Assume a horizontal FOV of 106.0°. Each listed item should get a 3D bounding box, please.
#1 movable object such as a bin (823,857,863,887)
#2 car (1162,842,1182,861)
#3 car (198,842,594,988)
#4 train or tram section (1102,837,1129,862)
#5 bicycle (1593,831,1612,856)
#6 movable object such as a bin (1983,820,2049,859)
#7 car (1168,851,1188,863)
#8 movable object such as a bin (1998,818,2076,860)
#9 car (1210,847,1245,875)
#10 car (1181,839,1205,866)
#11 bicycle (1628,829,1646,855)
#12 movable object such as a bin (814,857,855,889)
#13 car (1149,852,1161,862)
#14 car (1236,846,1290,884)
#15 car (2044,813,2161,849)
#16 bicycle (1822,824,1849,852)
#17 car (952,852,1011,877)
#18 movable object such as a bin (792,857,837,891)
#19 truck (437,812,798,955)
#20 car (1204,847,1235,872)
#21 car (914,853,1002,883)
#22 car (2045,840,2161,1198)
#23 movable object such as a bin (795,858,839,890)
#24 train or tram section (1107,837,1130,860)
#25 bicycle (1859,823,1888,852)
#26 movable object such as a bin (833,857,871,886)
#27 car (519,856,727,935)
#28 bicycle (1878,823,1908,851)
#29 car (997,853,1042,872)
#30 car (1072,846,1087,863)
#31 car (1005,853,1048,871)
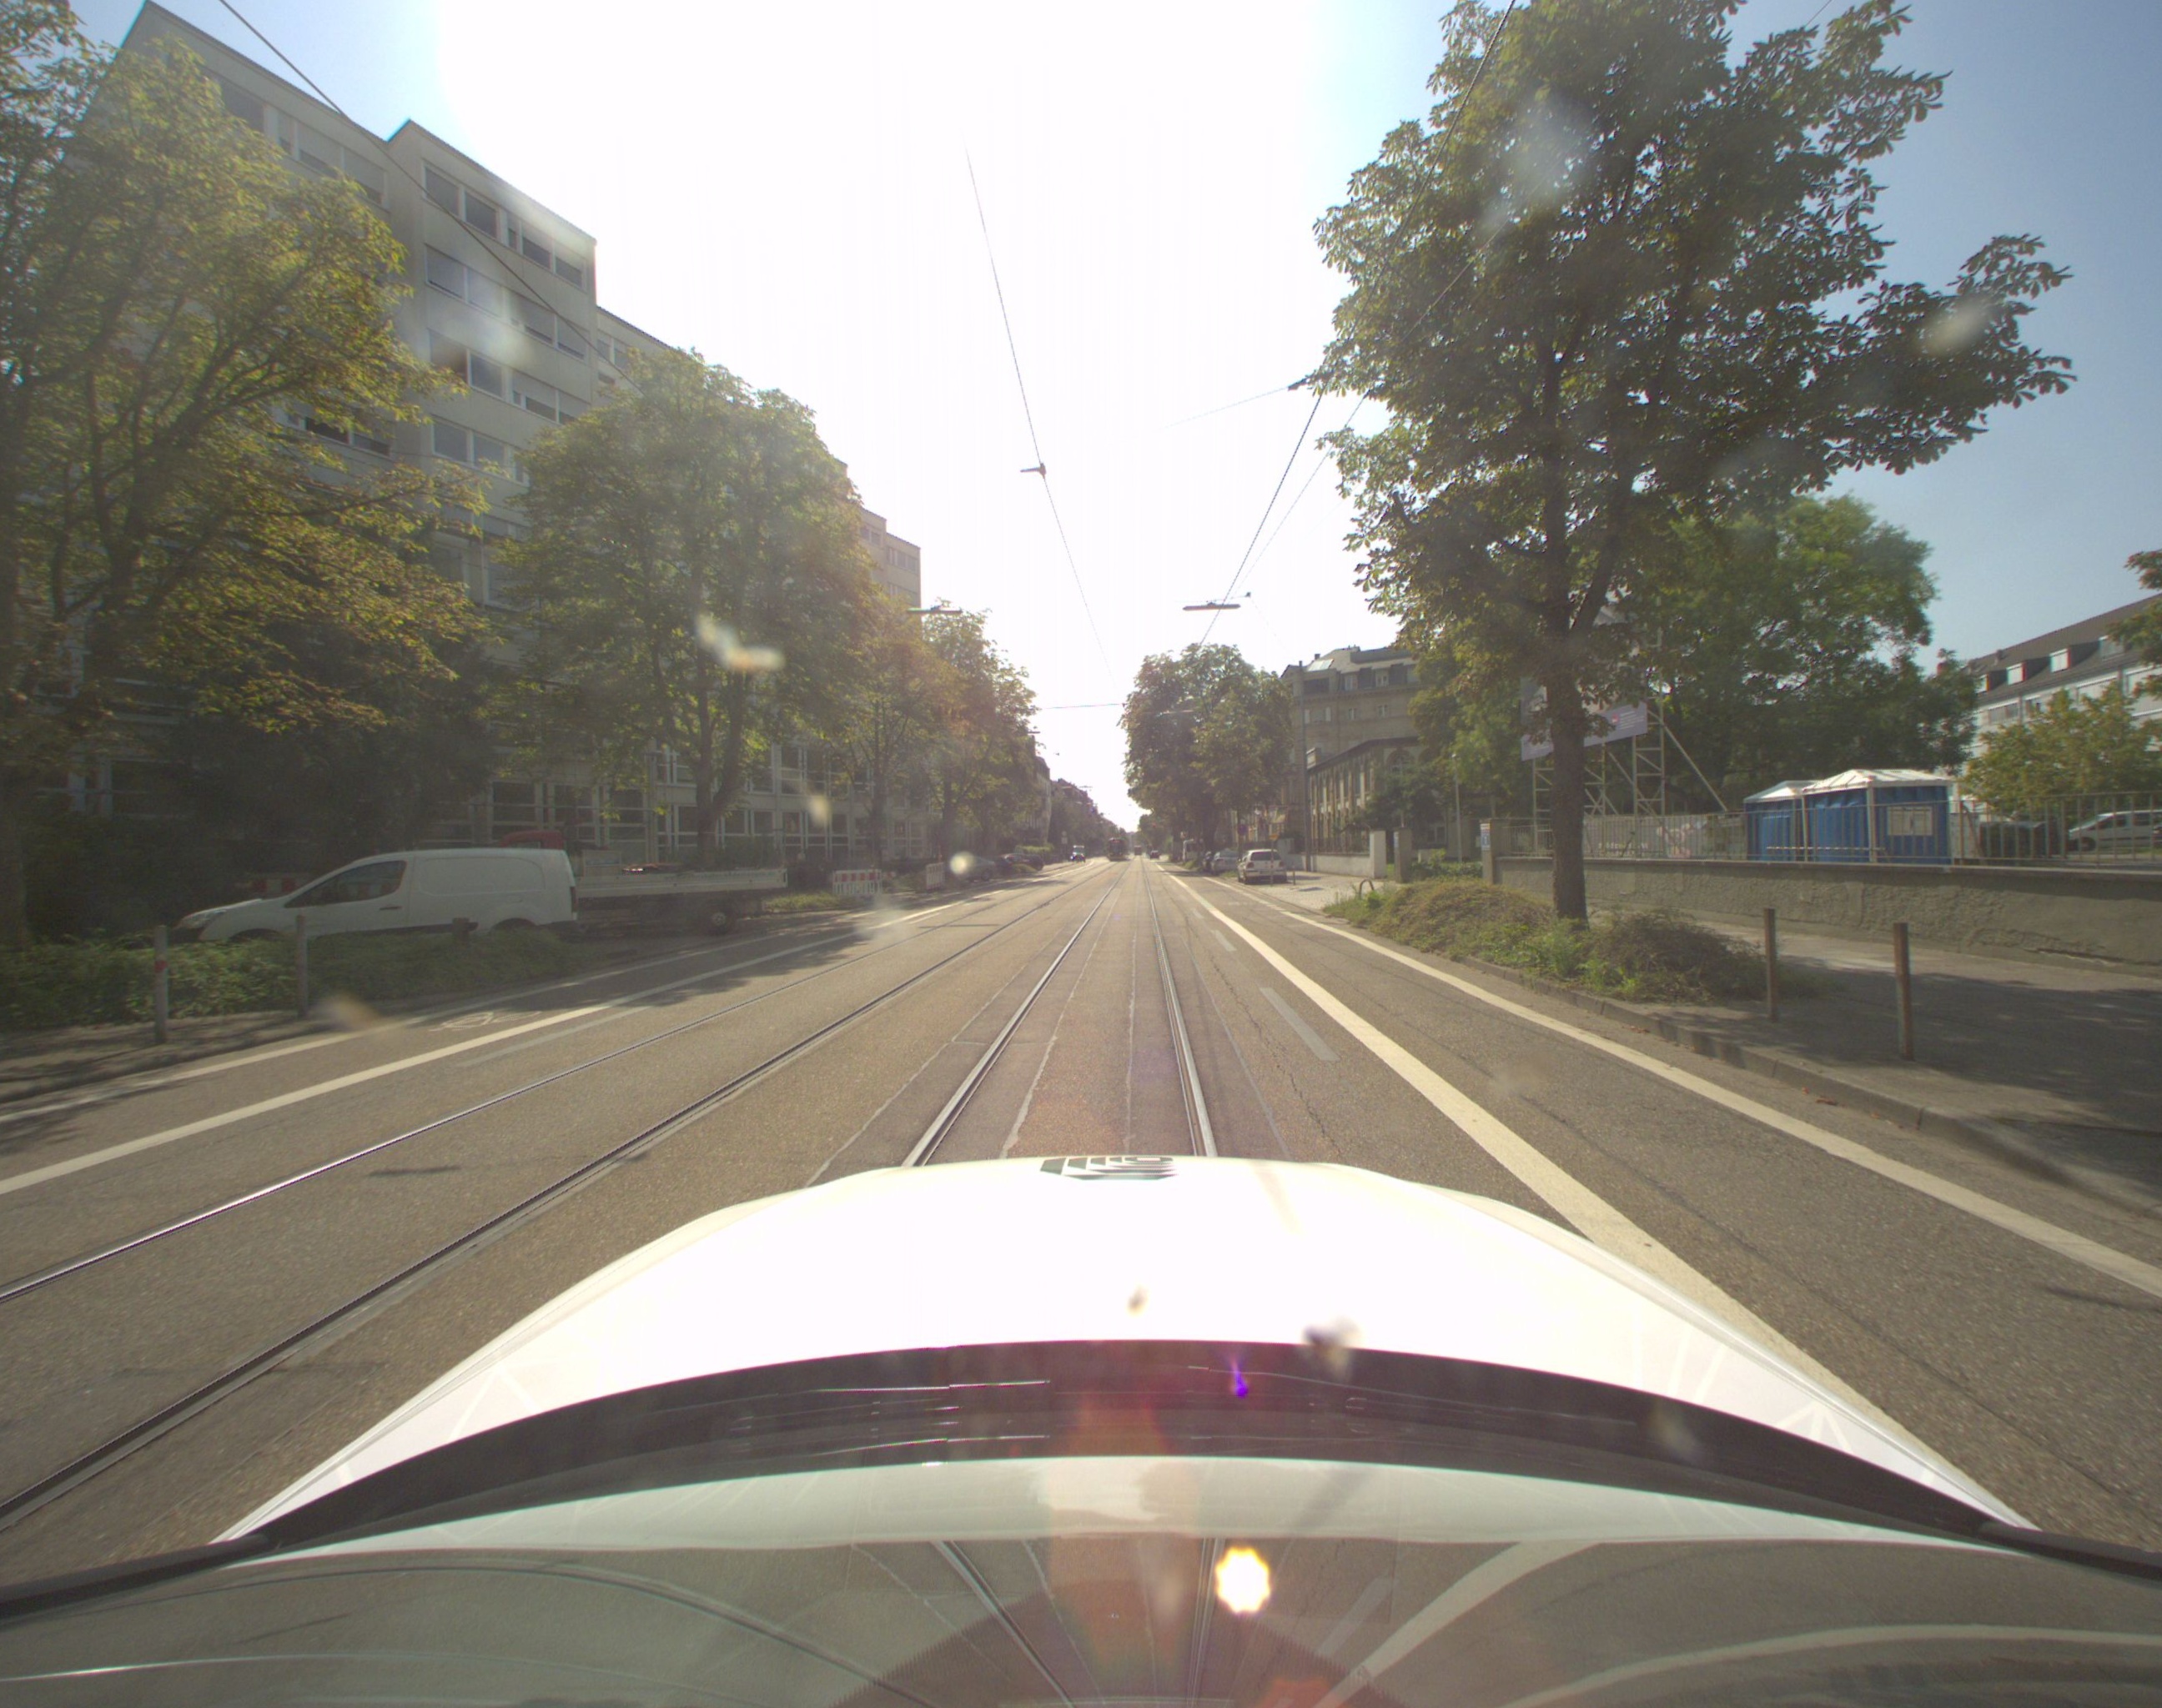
[{"bbox_3d":[-12.922,0.984,44.298,1.676,1.559,1.355,-2,0,2],"label":"movable object such as a bin"},{"bbox_3d":[11.556,-0.322,103.152,1.988,2.233,3.999,-2,0,-1],"label":"car"},{"bbox_3d":[-10.028,0.770,12.348,4.307,1.772,1.804,-2,0,-39],"label":"car"},{"bbox_3d":[5.417,-0.744,126.151,3.480,3.704,12.430,-1,0,5],"label":"train or tram section"},{"bbox_3d":[28.301,-0.584,44.214,0.762,1.302,2.542,-1,0,34],"label":"bicycle"},{"bbox_3d":[36.070,-0.573,31.444,1.234,1.431,1.340,-1,1,24],"label":"movable object such as a bin"},{"bbox_3d":[11.401,0.354,95.741,1.986,1.398,4.001,-1,0,1],"label":"car"},{"bbox_3d":[35.260,-0.554,30.058,1.321,1.493,1.379,-1,1,17],"label":"movable object such as a bin"},{"bbox_3d":[8.629,0.405,48.139,1.633,1.511,3.645,-1,0,4],"label":"car"},{"bbox_3d":[10.406,-0.148,75.835,1.984,2.365,4.005,-1,0,4],"label":"car"},{"bbox_3d":[29.763,-0.625,43.593,0.762,1.302,2.542,-1,0,34],"label":"bicycle"},{"bbox_3d":[-12.915,0.982,42.736,1.676,1.559,1.355,-2,0,2],"label":"movable object such as a bin"},{"bbox_3d":[12.976,0.534,142.724,1.984,1.801,4.005,-1,0,4],"label":"car"},{"bbox_3d":[7.634,0.429,34.494,1.782,1.446,3.740,-3,0,6],"label":"car"},{"bbox_3d":[49.623,-1.103,38.940,4.248,1.594,1.811,-1,0,33],"label":"car"},{"bbox_3d":[36.749,-0.775,39.685,0.601,1.302,2.187,-1,-1,34],"label":"bicycle"},{"bbox_3d":[-6.680,0.676,54.912,3.604,1.574,1.658,-1,-1,-38],"label":"car"},{"bbox_3d":[-12.947,0.972,39.647,1.676,1.559,1.355,-2,0,2],"label":"movable object such as a bin"},{"bbox_3d":[-9.108,0.440,16.489,5.994,2.434,2.127,-2,0,-35],"label":"truck"},{"bbox_3d":[9.171,0.363,54.118,1.785,1.577,4.007,-1,0,6],"label":"car"},{"bbox_3d":[-6.842,0.765,45.679,4.715,1.451,1.656,-3,1,-43],"label":"car"},{"bbox_3d":[5.109,0.669,1.357,1.666,1.458,4.669,-2,0,4],"label":"car"},{"bbox_3d":[-13.293,0.992,41.106,1.676,1.559,1.355,-2,0,2],"label":"movable object such as a bin"},{"bbox_3d":[6.469,-0.923,138.531,3.480,3.704,12.430,-1,0,5],"label":"train or tram section"},{"bbox_3d":[37.881,-0.770,38.946,0.601,1.302,2.187,-1,-1,34],"label":"bicycle"},{"bbox_3d":[-12.855,0.978,45.773,1.676,1.559,1.355,-2,0,2],"label":"movable object such as a bin"},{"bbox_3d":[-10.378,0.874,18.592,3.880,1.508,1.701,-2,0,-40],"label":"car"},{"bbox_3d":[38.458,-0.780,38.586,0.601,1.302,2.187,-1,-1,34],"label":"bicycle"},{"bbox_3d":[-5.381,0.727,71.709,3.604,1.574,1.658,-1,-1,-38],"label":"car"},{"bbox_3d":[-0.260,0.076,126.425,2.234,2.441,4.000,-1,0,1],"label":"car"},{"bbox_3d":[-4.999,0.735,74.770,3.604,1.574,1.658,-1,-1,-38],"label":"car"}]
